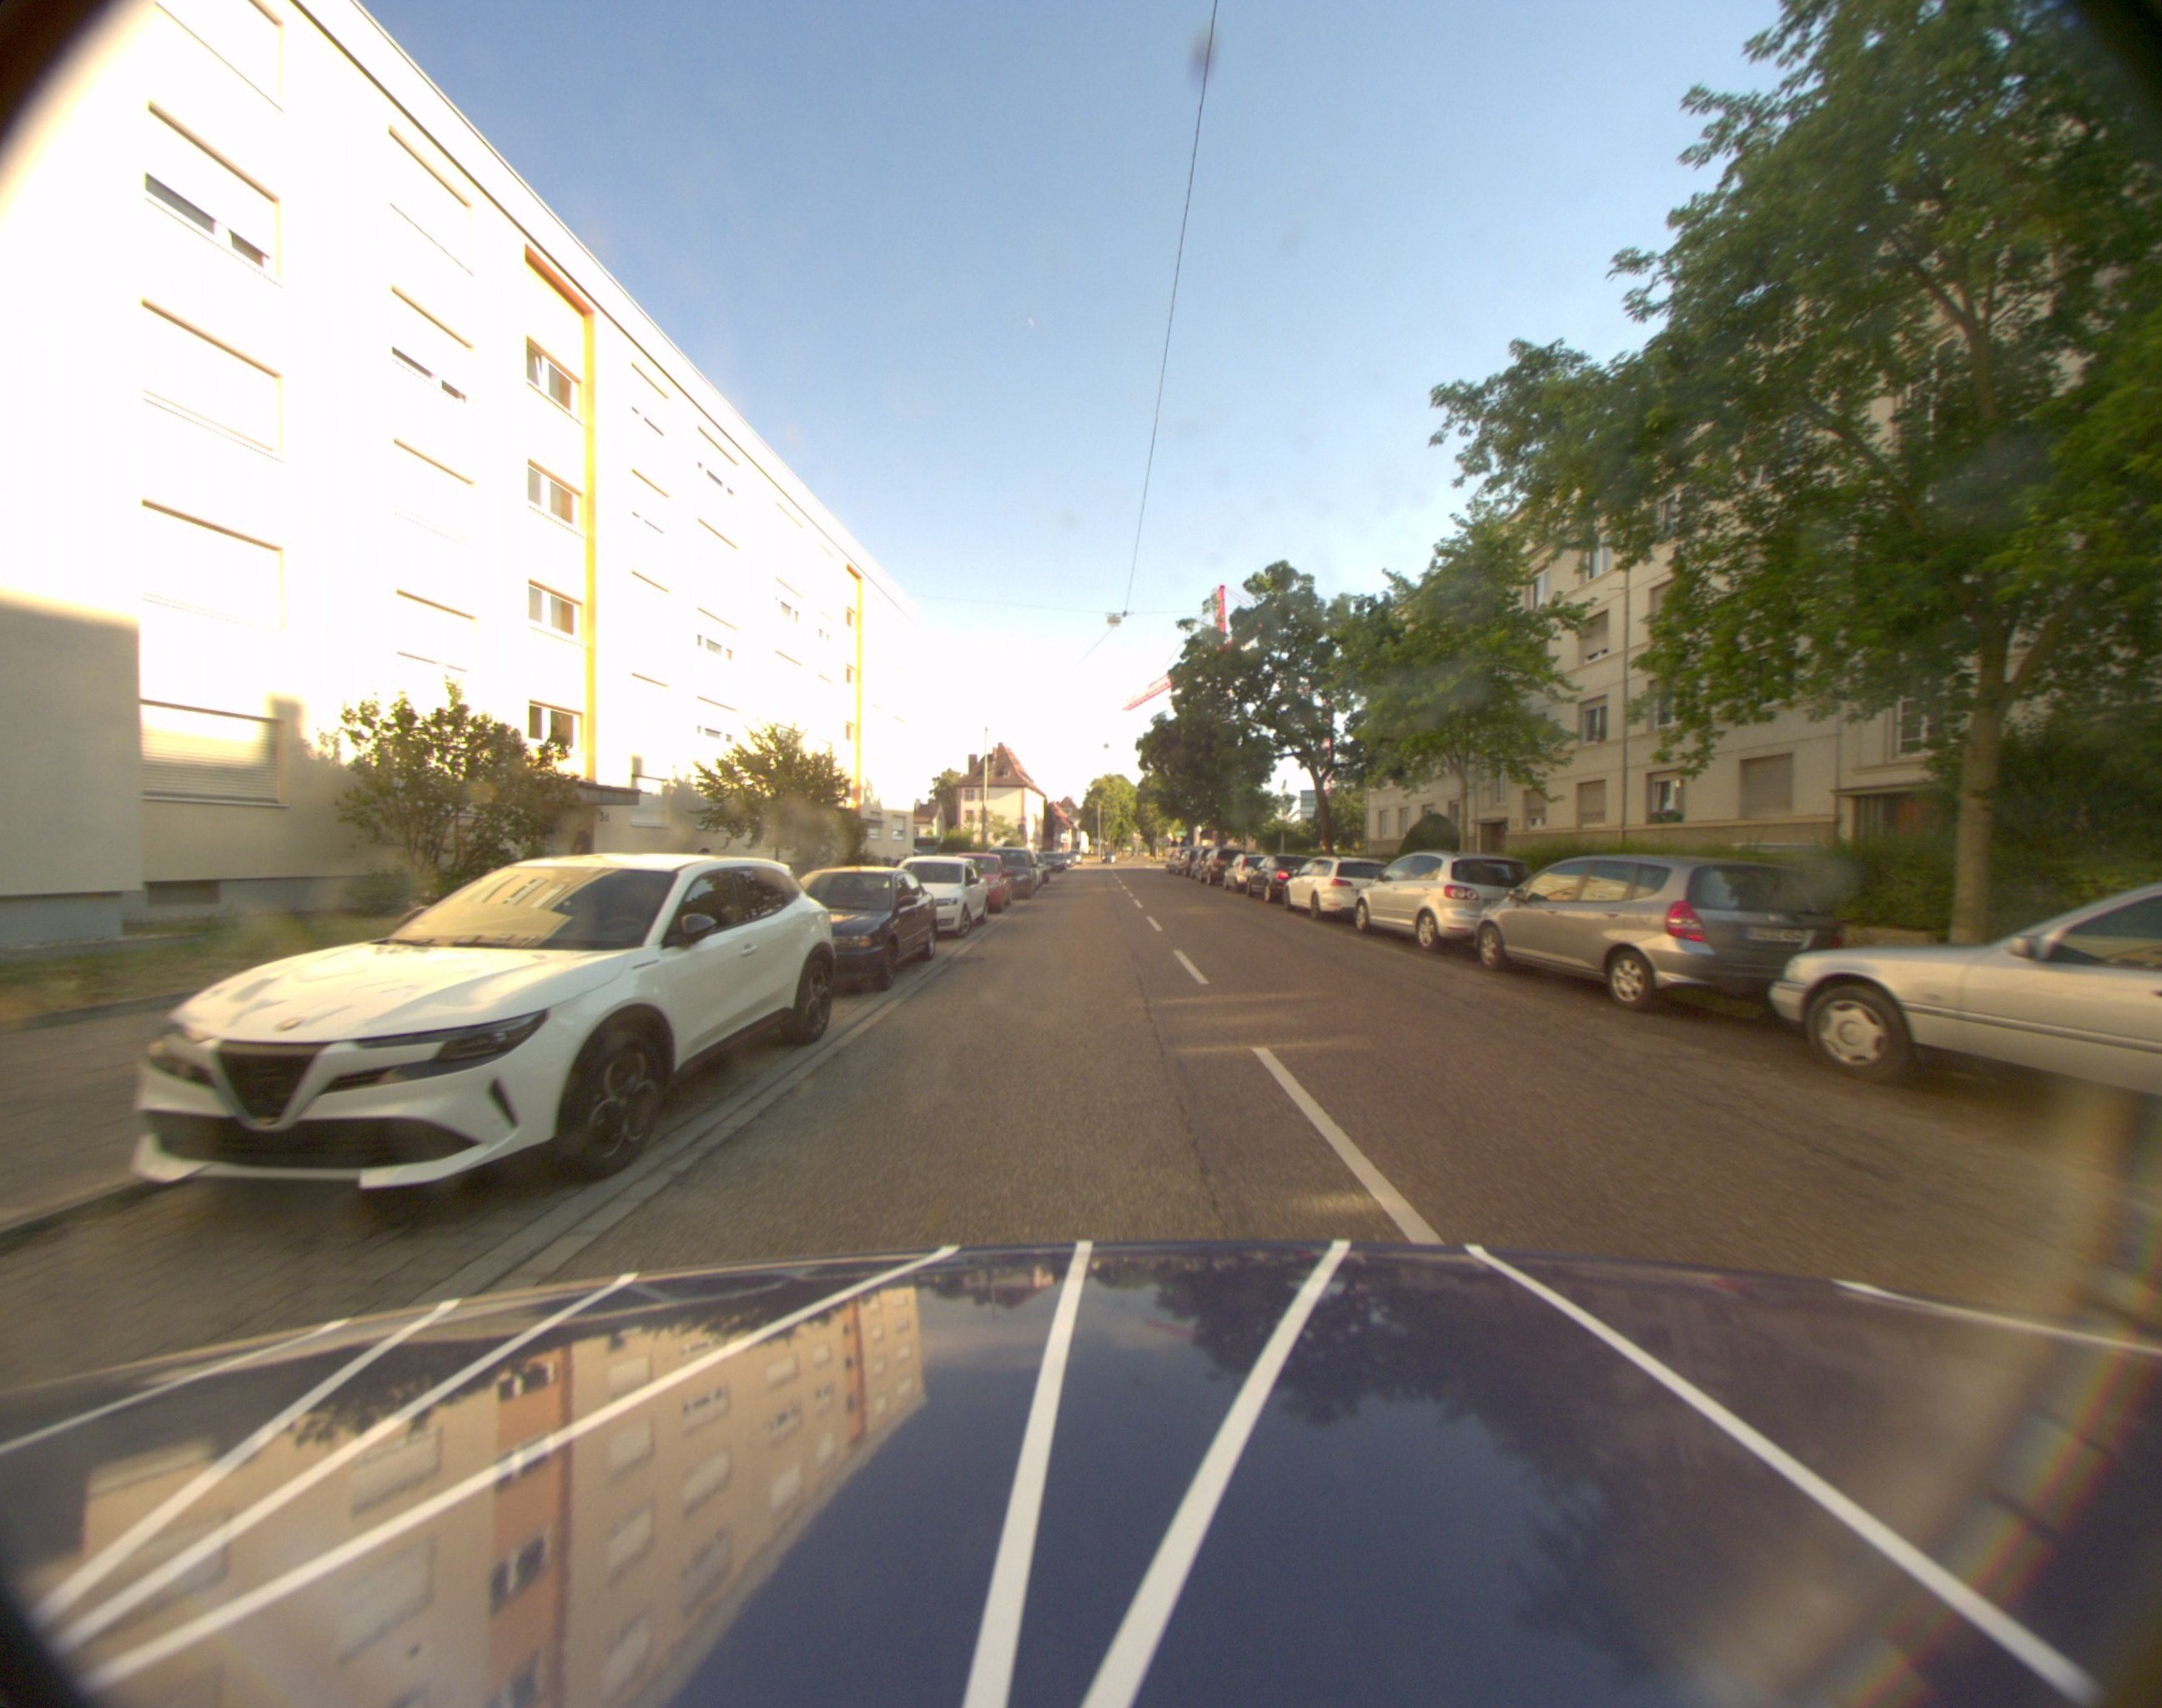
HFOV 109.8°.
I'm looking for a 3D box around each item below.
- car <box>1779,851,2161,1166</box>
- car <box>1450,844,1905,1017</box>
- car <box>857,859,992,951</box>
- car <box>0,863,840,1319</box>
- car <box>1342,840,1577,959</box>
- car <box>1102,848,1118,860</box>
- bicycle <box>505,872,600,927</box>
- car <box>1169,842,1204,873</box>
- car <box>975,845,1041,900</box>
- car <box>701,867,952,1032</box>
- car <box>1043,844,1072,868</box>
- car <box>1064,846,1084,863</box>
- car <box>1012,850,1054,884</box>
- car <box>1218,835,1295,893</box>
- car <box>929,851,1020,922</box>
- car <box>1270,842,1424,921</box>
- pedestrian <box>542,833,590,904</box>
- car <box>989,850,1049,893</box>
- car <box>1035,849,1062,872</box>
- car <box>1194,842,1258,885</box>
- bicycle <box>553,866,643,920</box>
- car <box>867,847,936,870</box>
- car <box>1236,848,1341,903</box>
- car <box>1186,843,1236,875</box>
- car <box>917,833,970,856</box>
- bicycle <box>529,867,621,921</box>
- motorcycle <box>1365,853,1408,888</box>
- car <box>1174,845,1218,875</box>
[{"bbox_3d":[5.927,0.745,3.091,1.878,1.348,4.652,-2,1,-1],"label":"car"},{"bbox_3d":[6.031,0.623,8.434,1.878,1.348,3.998,-2,1,-1],"label":"car"},{"bbox_3d":[-2.919,0.889,15.013,1.776,1.445,3.999,1,2,1],"label":"car"},{"bbox_3d":[-3.049,0.873,4.677,1.878,1.434,3.998,2,1,-1],"label":"car"},{"bbox_3d":[6.118,0.617,12.876,1.878,1.543,3.998,-4,1,-1],"label":"car"},{"bbox_3d":[3.710,0.001,97.013,1.775,1.492,3.673,-1,0,-2],"label":"car"},{"bbox_3d":[-10.564,0.883,15.274,0.438,0.936,1.791,-2,2,7],"label":"bicycle"},{"bbox_3d":[6.827,0.188,49.636,1.845,1.886,4.486,-1,2,2],"label":"car"},{"bbox_3d":[-2.479,0.572,26.723,1.776,1.668,4.645,1,2,1],"label":"car"},{"bbox_3d":[-2.933,1.006,9.833,1.665,1.430,4.312,-2,1,1],"label":"car"},{"bbox_3d":[-1.953,0.101,64.102,1.906,1.769,4.582,4,2,3],"label":"car"},{"bbox_3d":[-0.765,0.035,87.563,1.925,1.769,4.810,3,2,4],"label":"car"},{"bbox_3d":[-2.335,0.591,37.846,1.803,1.498,4.620,-1,2,-1],"label":"car"},{"bbox_3d":[6.505,0.299,28.680,1.998,2.002,3.999,2,2,1],"label":"car"},{"bbox_3d":[-2.803,0.798,20.833,1.776,1.607,3.999,-2,1,1],"label":"car"},{"bbox_3d":[6.111,0.543,18.088,2.009,1.543,4.470,-2,1,-1],"label":"car"},{"bbox_3d":[-12.146,0.334,17.942,0.767,1.649,0.536,2,2,1],"label":"pedestrian"},{"bbox_3d":[-2.488,0.680,31.316,1.775,1.499,4.000,-2,1,4],"label":"car"},{"bbox_3d":[-2.342,0.426,55.958,1.891,1.553,4.944,1,1,-1],"label":"car"},{"bbox_3d":[6.459,0.370,34.404,1.878,1.749,4.688,1,1,-1],"label":"car"},{"bbox_3d":[-9.614,0.750,15.215,0.438,0.936,1.791,-2,2,7],"label":"bicycle"},{"bbox_3d":[-12.922,0.325,54.800,4.486,1.593,1.732,1,2,4],"label":"car"},{"bbox_3d":[6.317,0.592,23.690,1.878,1.426,4.802,1,1,-1],"label":"car"},{"bbox_3d":[6.874,0.230,40.476,1.878,1.543,3.998,-2,1,-1],"label":"car"},{"bbox_3d":[-11.739,-0.860,65.049,3.996,1.784,2.000,-2,2,2],"label":"car"},{"bbox_3d":[-10.092,0.768,15.240,0.438,0.936,1.791,-2,2,7],"label":"bicycle"},{"bbox_3d":[10.709,0.573,26.648,0.577,1.172,1.260,-4,2,-34],"label":"motorcycle"},{"bbox_3d":[6.755,0.317,44.991,1.878,1.543,3.998,-3,1,-1],"label":"car"}]
